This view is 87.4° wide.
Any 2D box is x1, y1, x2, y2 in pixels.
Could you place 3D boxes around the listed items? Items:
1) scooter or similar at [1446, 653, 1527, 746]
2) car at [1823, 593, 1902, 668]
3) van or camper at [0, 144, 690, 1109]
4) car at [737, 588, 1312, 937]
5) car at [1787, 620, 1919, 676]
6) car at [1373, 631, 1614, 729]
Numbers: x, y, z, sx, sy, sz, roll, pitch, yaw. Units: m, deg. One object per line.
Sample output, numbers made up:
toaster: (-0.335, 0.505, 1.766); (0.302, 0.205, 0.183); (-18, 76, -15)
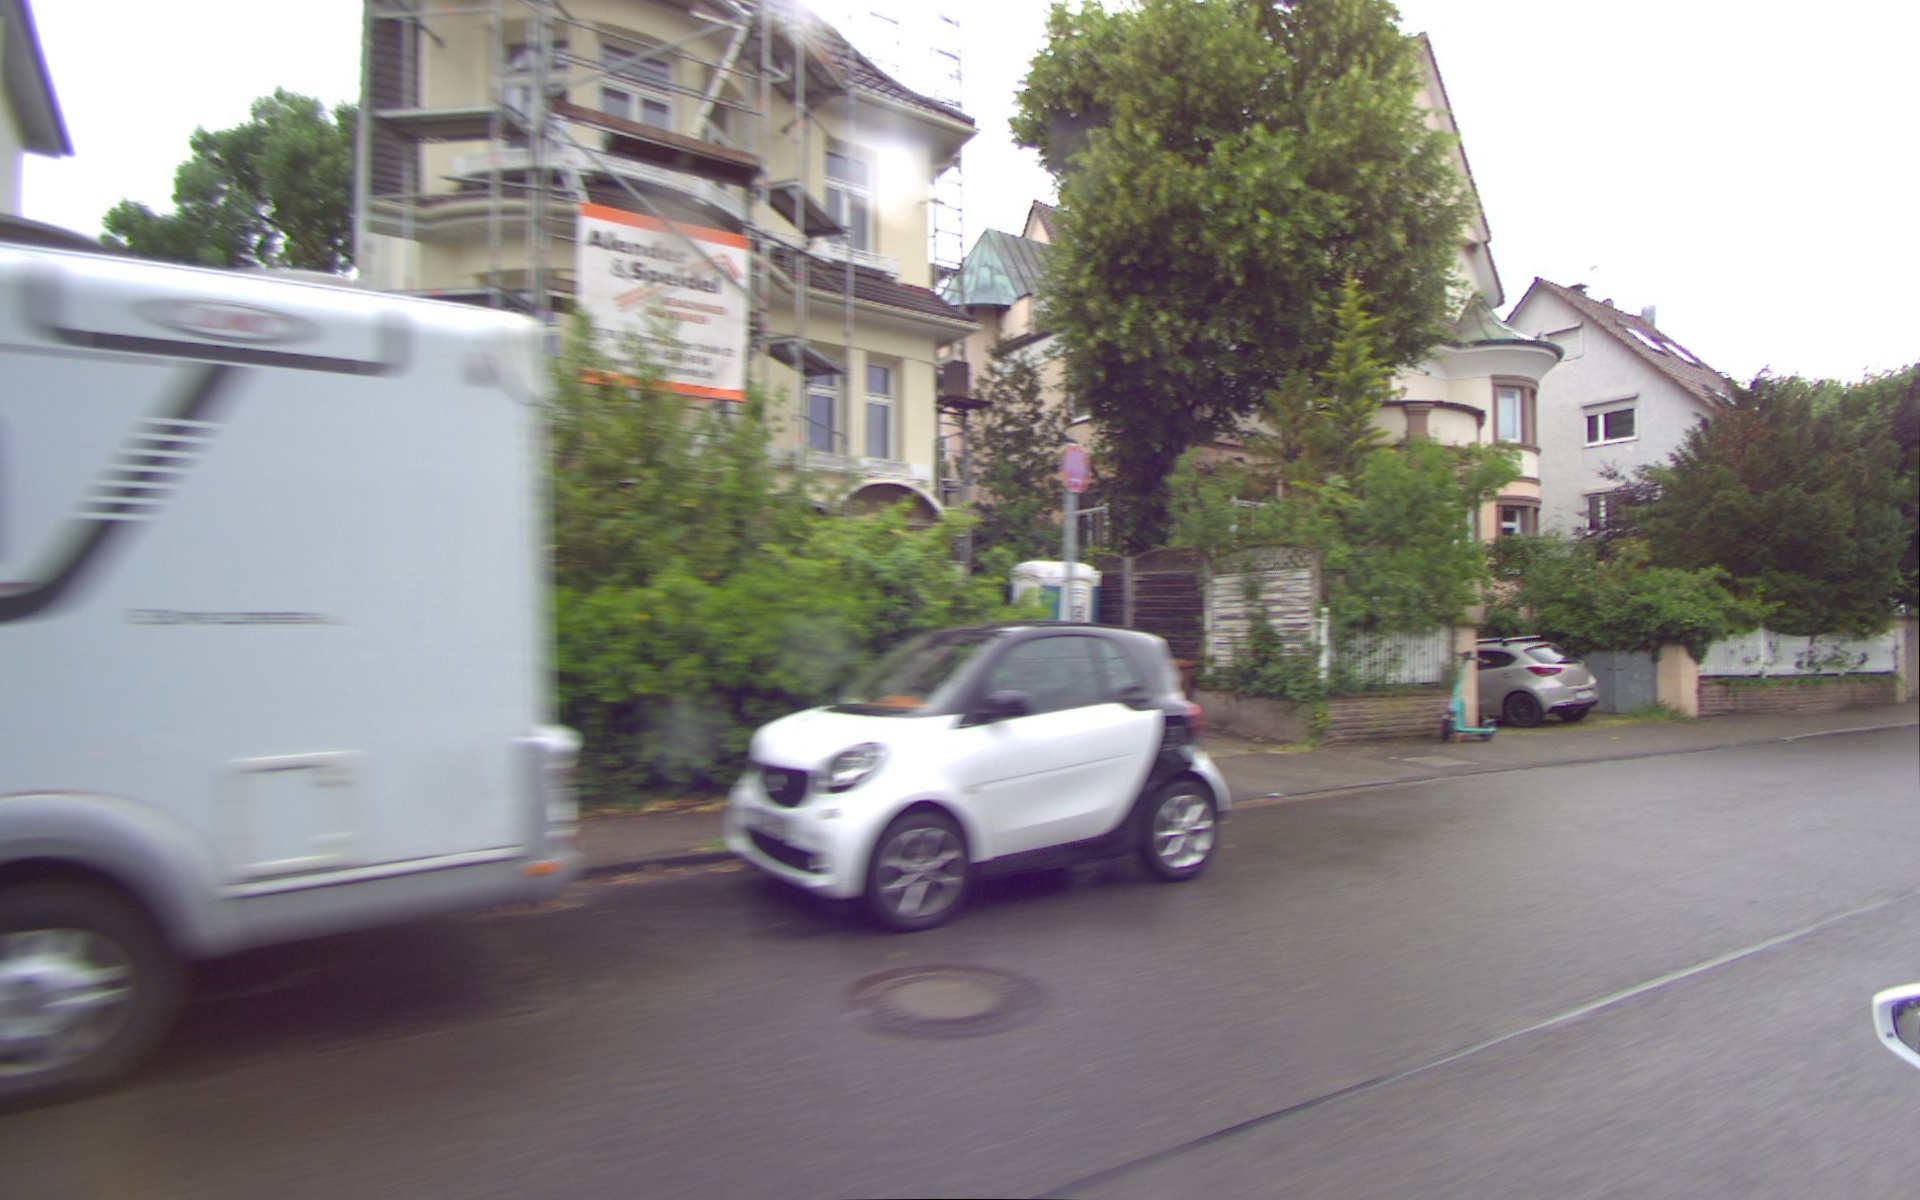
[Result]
scooter or similar: (7.192, 1.334, 13.717); (1.126, 1.204, 0.400); (1, -1, -26)
car: (32.015, 1.058, 35.763); (1.971, 2.480, 5.466); (0, -1, 41)
van or camper: (-4.231, 0.077, 3.290); (6.052, 2.760, 2.334); (2, -3, -33)
car: (0.463, 0.821, 6.241); (3.282, 1.615, 1.586); (2, -3, -33)
car: (27.101, 1.378, 29.138); (4.589, 1.515, 1.804); (0, 0, 4)
car: (9.827, 1.462, 18.753); (1.690, 1.561, 3.564); (-2, -3, -31)
